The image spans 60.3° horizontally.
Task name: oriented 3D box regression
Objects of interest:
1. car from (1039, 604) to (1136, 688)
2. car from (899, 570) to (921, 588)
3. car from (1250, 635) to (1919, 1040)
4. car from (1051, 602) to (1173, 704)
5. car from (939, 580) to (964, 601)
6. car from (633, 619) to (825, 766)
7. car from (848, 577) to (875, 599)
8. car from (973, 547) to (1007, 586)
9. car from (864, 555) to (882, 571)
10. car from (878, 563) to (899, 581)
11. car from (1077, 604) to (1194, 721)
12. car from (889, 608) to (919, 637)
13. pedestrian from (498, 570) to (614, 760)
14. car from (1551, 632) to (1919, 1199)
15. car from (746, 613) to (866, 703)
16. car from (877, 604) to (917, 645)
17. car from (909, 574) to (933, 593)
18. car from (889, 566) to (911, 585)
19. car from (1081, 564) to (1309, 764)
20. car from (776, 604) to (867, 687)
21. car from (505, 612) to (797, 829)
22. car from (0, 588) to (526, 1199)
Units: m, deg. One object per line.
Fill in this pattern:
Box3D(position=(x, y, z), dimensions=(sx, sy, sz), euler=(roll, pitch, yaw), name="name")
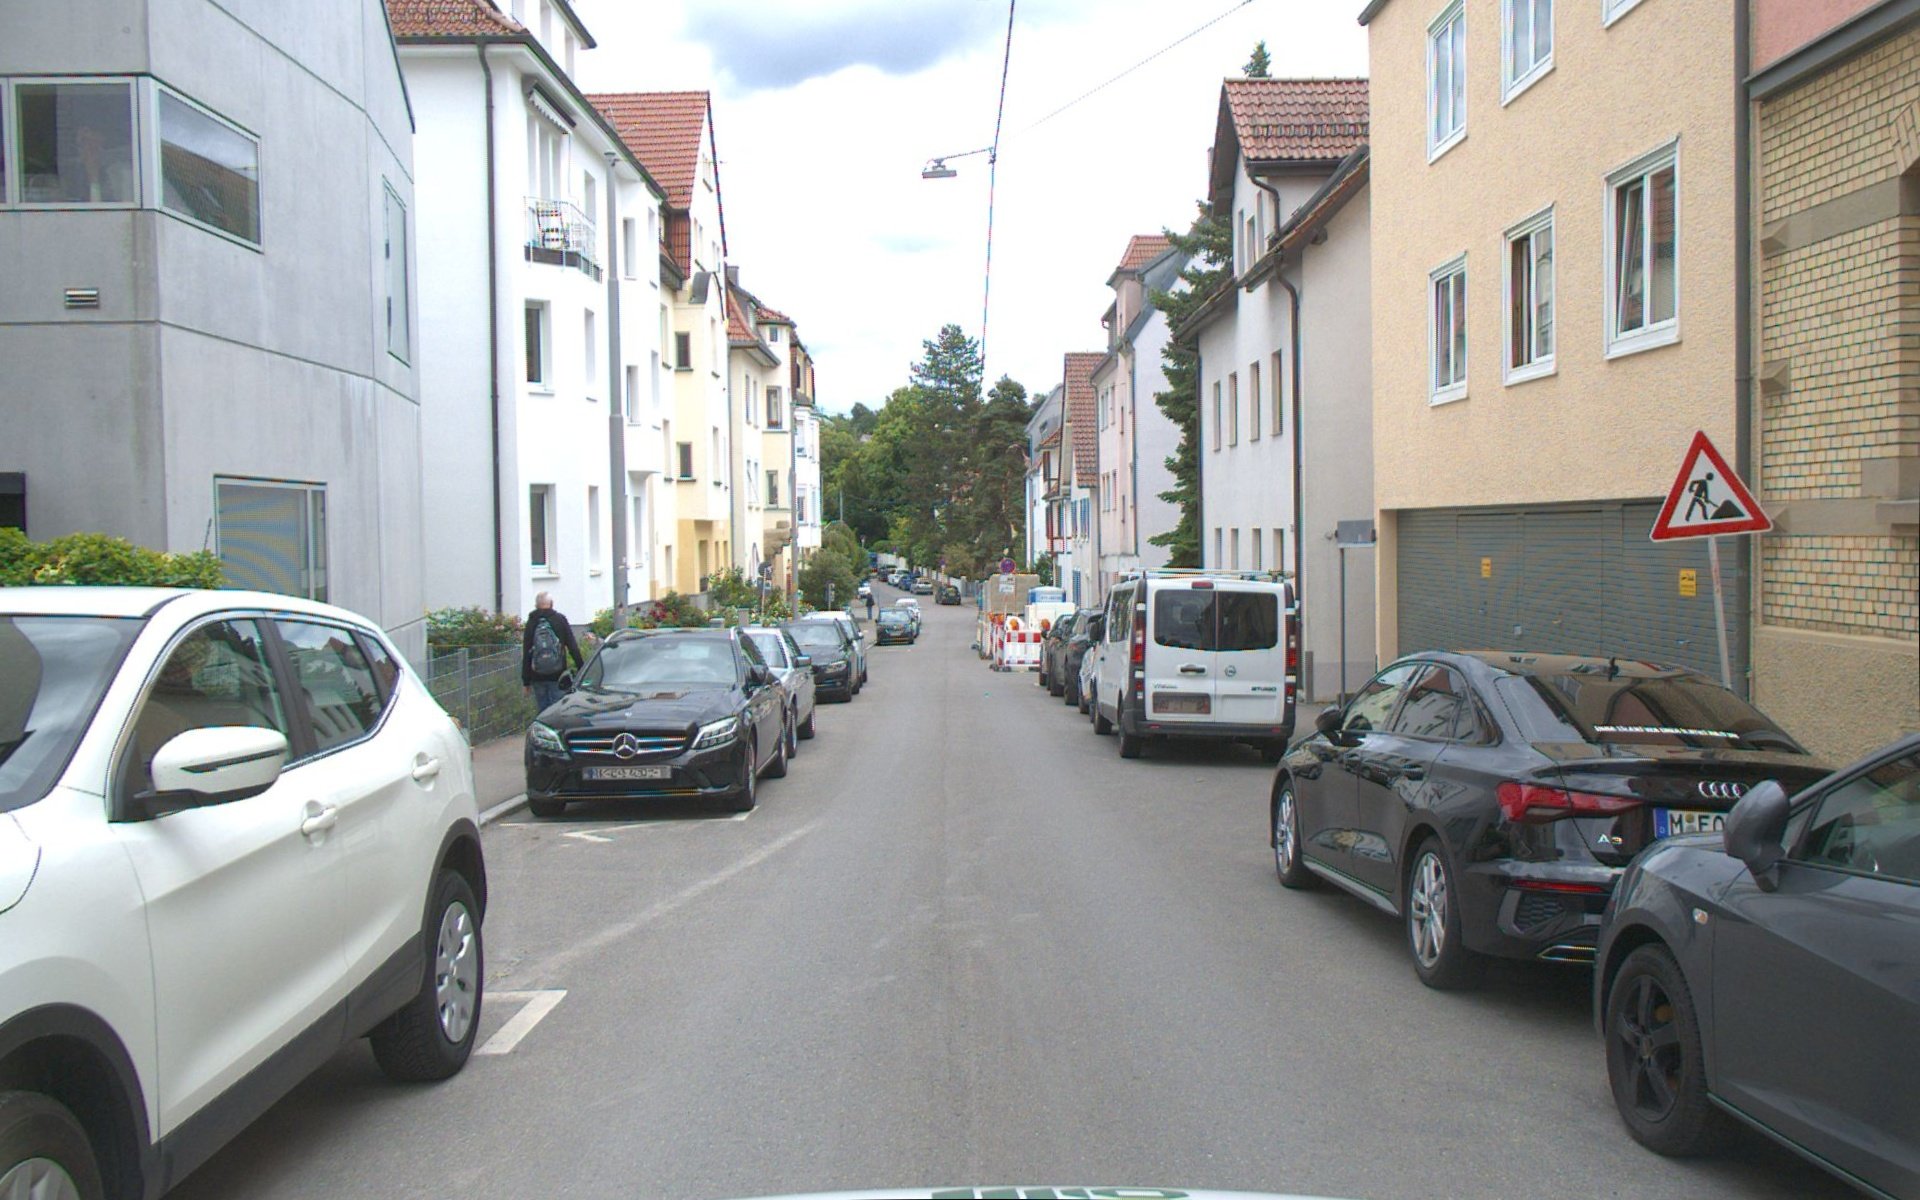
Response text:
Box3D(position=(2.594, 0.902, 34.460), dimensions=(1.680, 1.593, 4.073), euler=(1, 0, 0), name="car")
Box3D(position=(-4.595, -1.927, 151.732), dimensions=(1.604, 1.509, 3.524), euler=(0, 4, -9), name="car")
Box3D(position=(2.828, 0.909, 8.255), dimensions=(1.815, 1.428, 4.573), euler=(1, -1, -2), name="car")
Box3D(position=(2.621, 0.871, 29.383), dimensions=(1.678, 1.624, 4.498), euler=(1, 0, -1), name="car")
Box3D(position=(-0.733, -0.789, 135.576), dimensions=(1.604, 1.509, 3.525), euler=(1, 4, -8), name="car")
Box3D(position=(-2.650, 1.007, 20.036), dimensions=(1.808, 1.437, 5.059), euler=(-1, 0, -2), name="car")
Box3D(position=(-8.621, -1.053, 144.582), dimensions=(1.644, 1.685, 3.851), euler=(-2, 3, -13), name="car")
Box3D(position=(1.869, -2.126, 104.942), dimensions=(1.940, 2.403, 4.276), euler=(-1, 1, -2), name="car")
Box3D(position=(-9.359, -4.012, 178.159), dimensions=(1.604, 1.564, 3.524), euler=(0, 4, -9), name="car")
Box3D(position=(-7.078, -2.771, 163.603), dimensions=(1.604, 1.564, 3.524), euler=(0, 4, -9), name="car")
Box3D(position=(2.587, 0.886, 24.881), dimensions=(1.456, 1.624, 2.791), euler=(1, 0, 0), name="car")
Box3D(position=(-3.049, 1.226, 90.797), dimensions=(1.609, 1.441, 3.983), euler=(-2, 0, -2), name="car")
Box3D(position=(-4.218, 0.662, 17.295), dimensions=(0.800, 1.917, 0.847), euler=(-1, 0, 22), name="pedestrian")
Box3D(position=(3.004, 0.845, 3.588), dimensions=(1.816, 1.428, 3.964), euler=(1, 0, -4), name="car")
Box3D(position=(-2.766, 1.011, 30.655), dimensions=(1.807, 1.483, 4.503), euler=(-2, 0, -1), name="car")
Box3D(position=(-3.067, 1.143, 80.005), dimensions=(1.808, 1.847, 4.541), euler=(-2, 0, -3), name="car")
Box3D(position=(-3.487, -1.481, 147.412), dimensions=(1.604, 1.509, 3.524), euler=(0, 4, -9), name="car")
Box3D(position=(-5.738, -2.344, 157.871), dimensions=(1.604, 1.564, 3.524), euler=(0, 4, -9), name="car")
Box3D(position=(2.678, 0.658, 20.203), dimensions=(1.866, 2.065, 5.732), euler=(1, 0, -1), name="car")
Box3D(position=(-2.998, 0.950, 36.566), dimensions=(1.808, 1.659, 4.284), euler=(-1, 0, -3), name="car")
Box3D(position=(-2.486, 0.914, 14.365), dimensions=(1.858, 1.554, 4.468), euler=(-1, -1, -3), name="car")
Box3D(position=(-2.424, 0.759, 3.930), dimensions=(1.808, 1.542, 4.238), euler=(-1, 0, -3), name="car")
